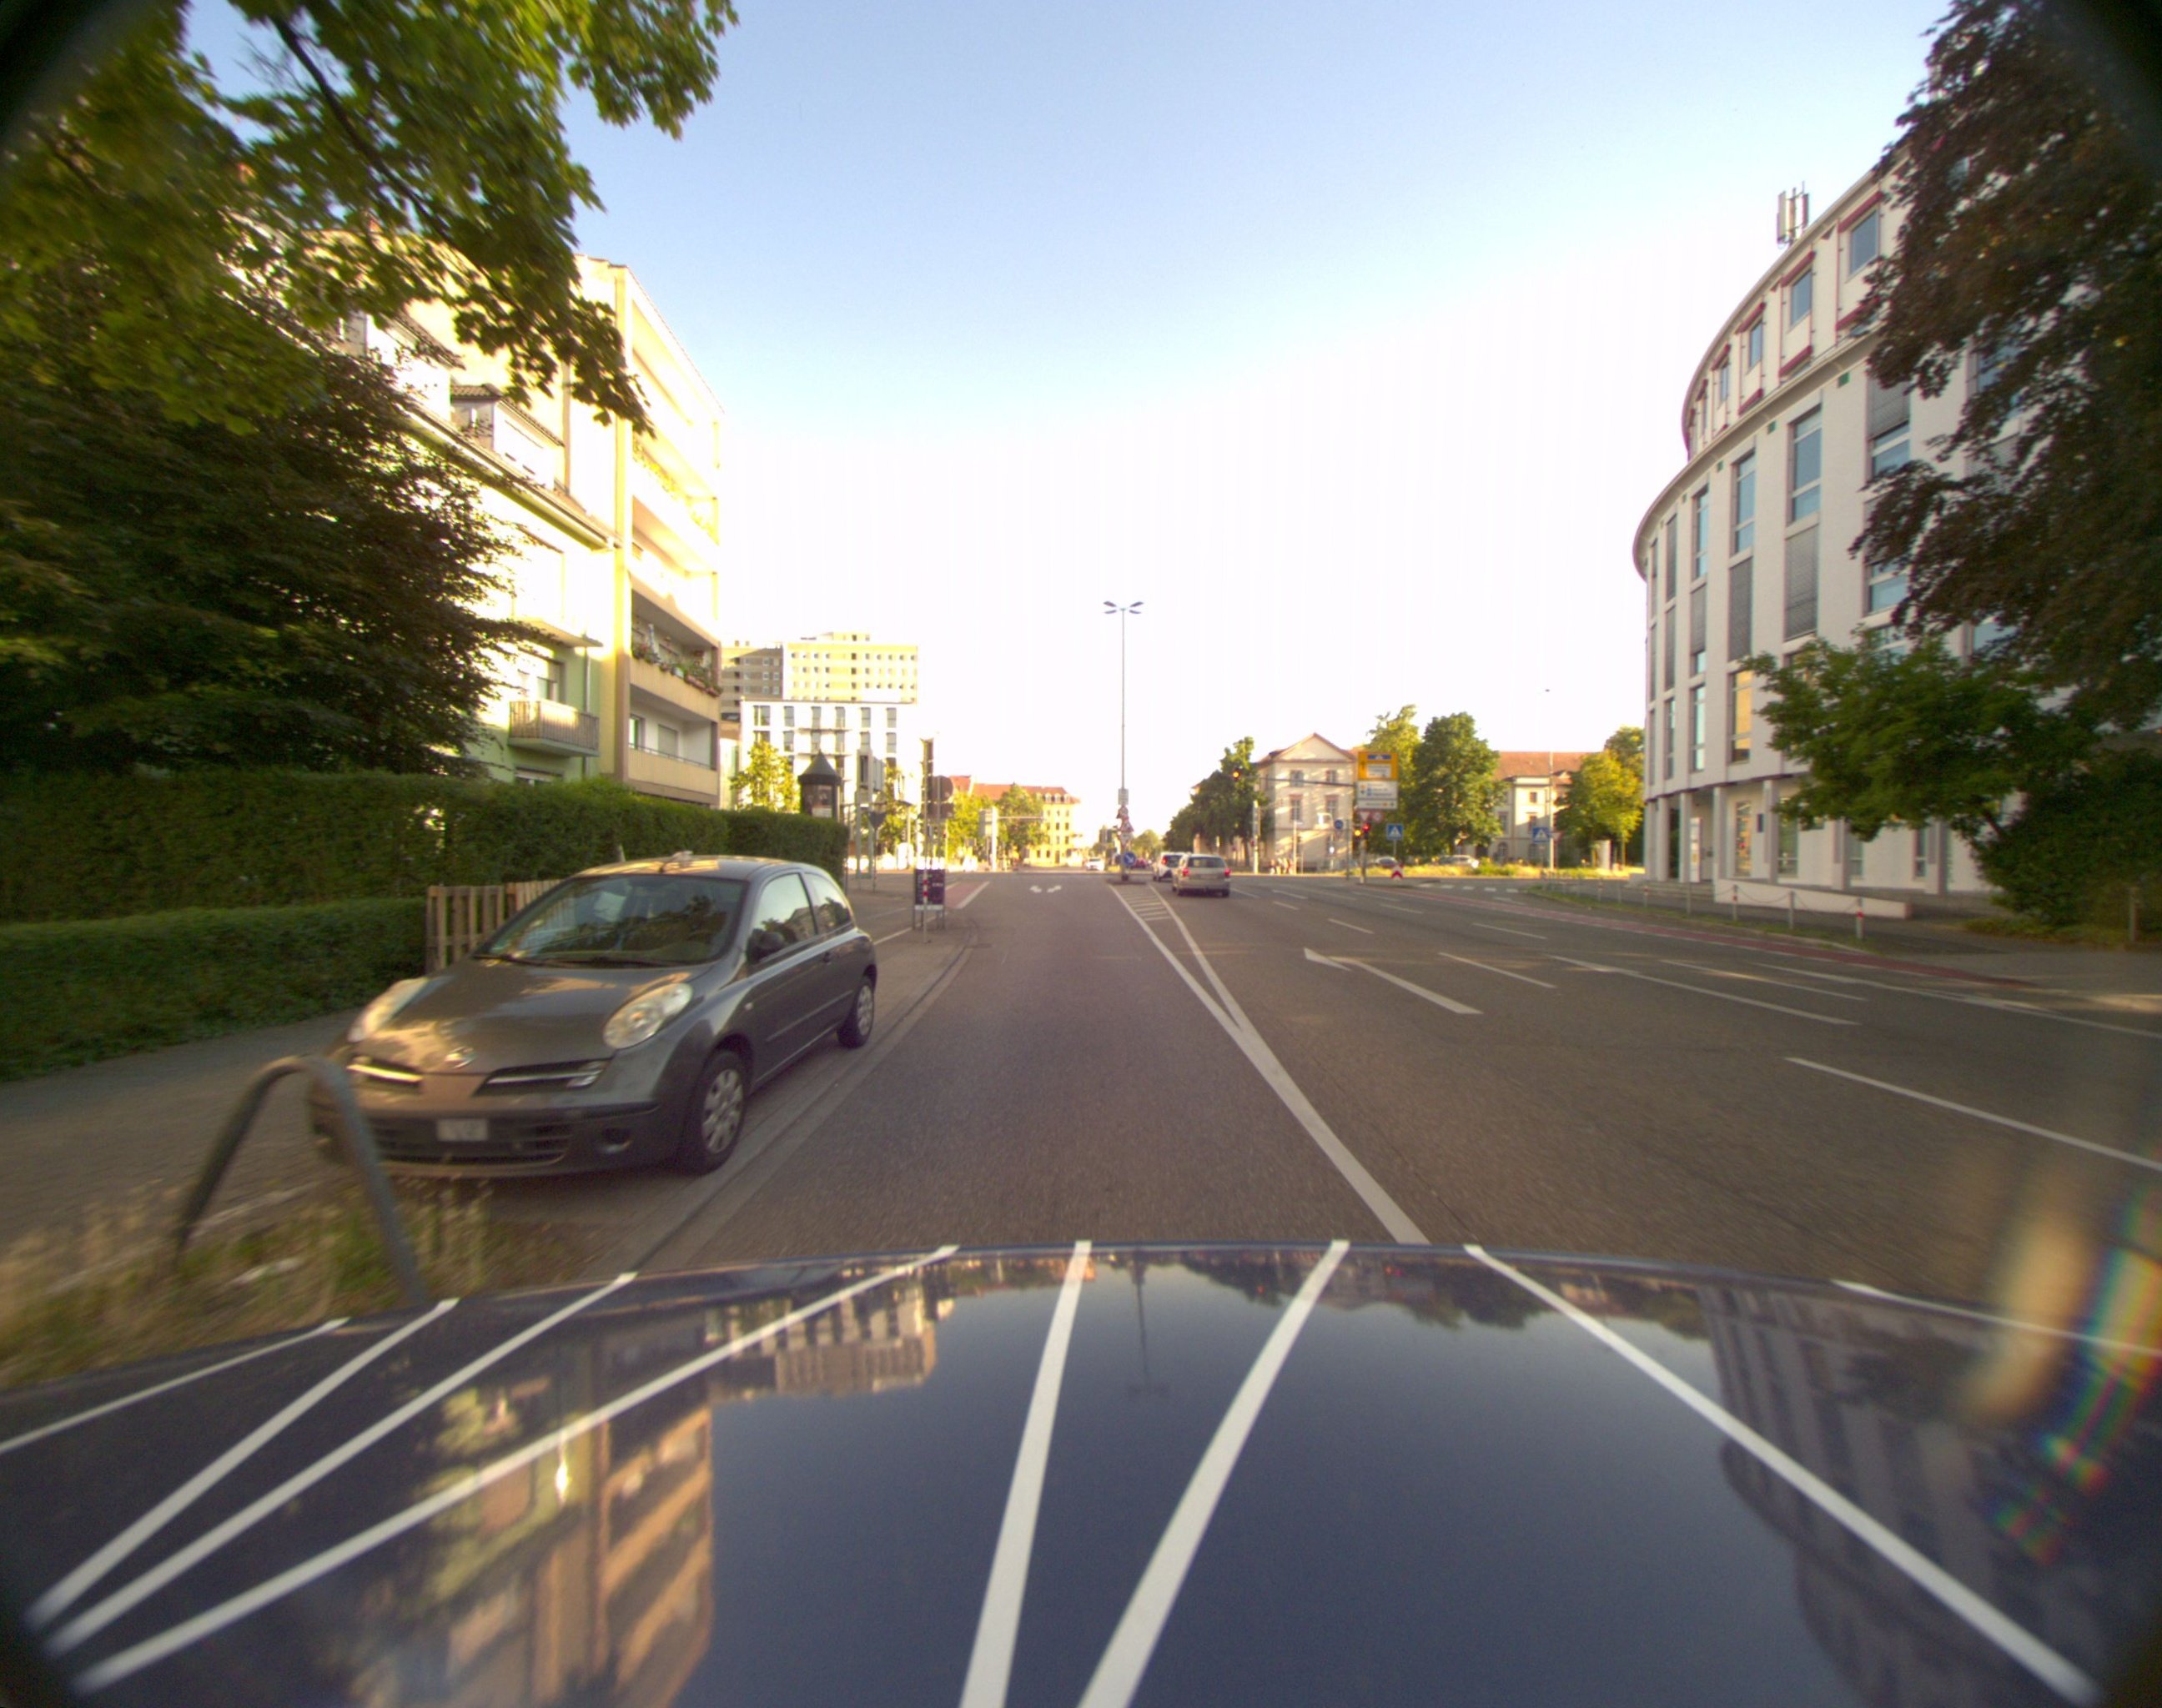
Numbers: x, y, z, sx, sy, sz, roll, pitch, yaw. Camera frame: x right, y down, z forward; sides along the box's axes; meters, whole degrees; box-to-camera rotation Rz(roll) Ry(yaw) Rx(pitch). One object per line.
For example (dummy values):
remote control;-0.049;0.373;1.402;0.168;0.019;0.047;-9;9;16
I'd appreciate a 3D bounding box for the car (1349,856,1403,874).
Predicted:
car;24.318;0.915;62.765;3.645;1.437;1.999;0;0;-4

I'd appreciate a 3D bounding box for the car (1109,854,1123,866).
car;5.478;0.927;118.870;1.832;1.836;4.946;0;0;-1

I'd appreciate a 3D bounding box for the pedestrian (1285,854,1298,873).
pedestrian;20.850;0.957;75.162;0.821;1.838;1.169;0;0;-8

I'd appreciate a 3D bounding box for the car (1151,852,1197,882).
car;4.695;0.632;38.836;1.832;1.452;3.902;0;0;0

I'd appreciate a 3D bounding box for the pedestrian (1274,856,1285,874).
pedestrian;19.656;1.088;75.094;0.678;1.698;1.084;0;0;-8

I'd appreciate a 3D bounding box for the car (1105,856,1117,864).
car;5.317;1.025;133.816;1.765;1.454;4.292;0;0;-2

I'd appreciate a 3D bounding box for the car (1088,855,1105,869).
car;1.685;0.829;81.651;1.764;1.489;3.708;0;0;0

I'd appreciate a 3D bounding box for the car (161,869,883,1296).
car;-2.578;0.894;4.678;1.737;1.542;3.646;0;0;0

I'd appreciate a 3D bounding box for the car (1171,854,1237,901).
car;4.272;0.778;27.046;1.832;1.505;4.605;0;0;3

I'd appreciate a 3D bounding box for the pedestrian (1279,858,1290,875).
pedestrian;19.077;1.174;71.195;0.678;1.641;0.882;0;0;-8

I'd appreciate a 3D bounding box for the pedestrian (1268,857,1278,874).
pedestrian;18.000;1.081;71.311;0.621;1.641;0.889;0;0;-8

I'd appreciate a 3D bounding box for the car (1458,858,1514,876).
car;34.049;1.102;63.982;3.645;1.437;1.999;0;0;-4

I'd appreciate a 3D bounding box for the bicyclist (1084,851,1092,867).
bicyclist;0.696;0.477;77.322;0.838;1.594;1.023;0;0;-2

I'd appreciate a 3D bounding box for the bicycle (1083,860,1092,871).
bicycle;0.669;1.202;77.320;0.834;1.101;2.080;0;0;-2

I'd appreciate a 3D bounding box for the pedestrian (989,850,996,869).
pedestrian;-8.541;0.520;73.171;0.500;1.866;0.601;0;0;-29
